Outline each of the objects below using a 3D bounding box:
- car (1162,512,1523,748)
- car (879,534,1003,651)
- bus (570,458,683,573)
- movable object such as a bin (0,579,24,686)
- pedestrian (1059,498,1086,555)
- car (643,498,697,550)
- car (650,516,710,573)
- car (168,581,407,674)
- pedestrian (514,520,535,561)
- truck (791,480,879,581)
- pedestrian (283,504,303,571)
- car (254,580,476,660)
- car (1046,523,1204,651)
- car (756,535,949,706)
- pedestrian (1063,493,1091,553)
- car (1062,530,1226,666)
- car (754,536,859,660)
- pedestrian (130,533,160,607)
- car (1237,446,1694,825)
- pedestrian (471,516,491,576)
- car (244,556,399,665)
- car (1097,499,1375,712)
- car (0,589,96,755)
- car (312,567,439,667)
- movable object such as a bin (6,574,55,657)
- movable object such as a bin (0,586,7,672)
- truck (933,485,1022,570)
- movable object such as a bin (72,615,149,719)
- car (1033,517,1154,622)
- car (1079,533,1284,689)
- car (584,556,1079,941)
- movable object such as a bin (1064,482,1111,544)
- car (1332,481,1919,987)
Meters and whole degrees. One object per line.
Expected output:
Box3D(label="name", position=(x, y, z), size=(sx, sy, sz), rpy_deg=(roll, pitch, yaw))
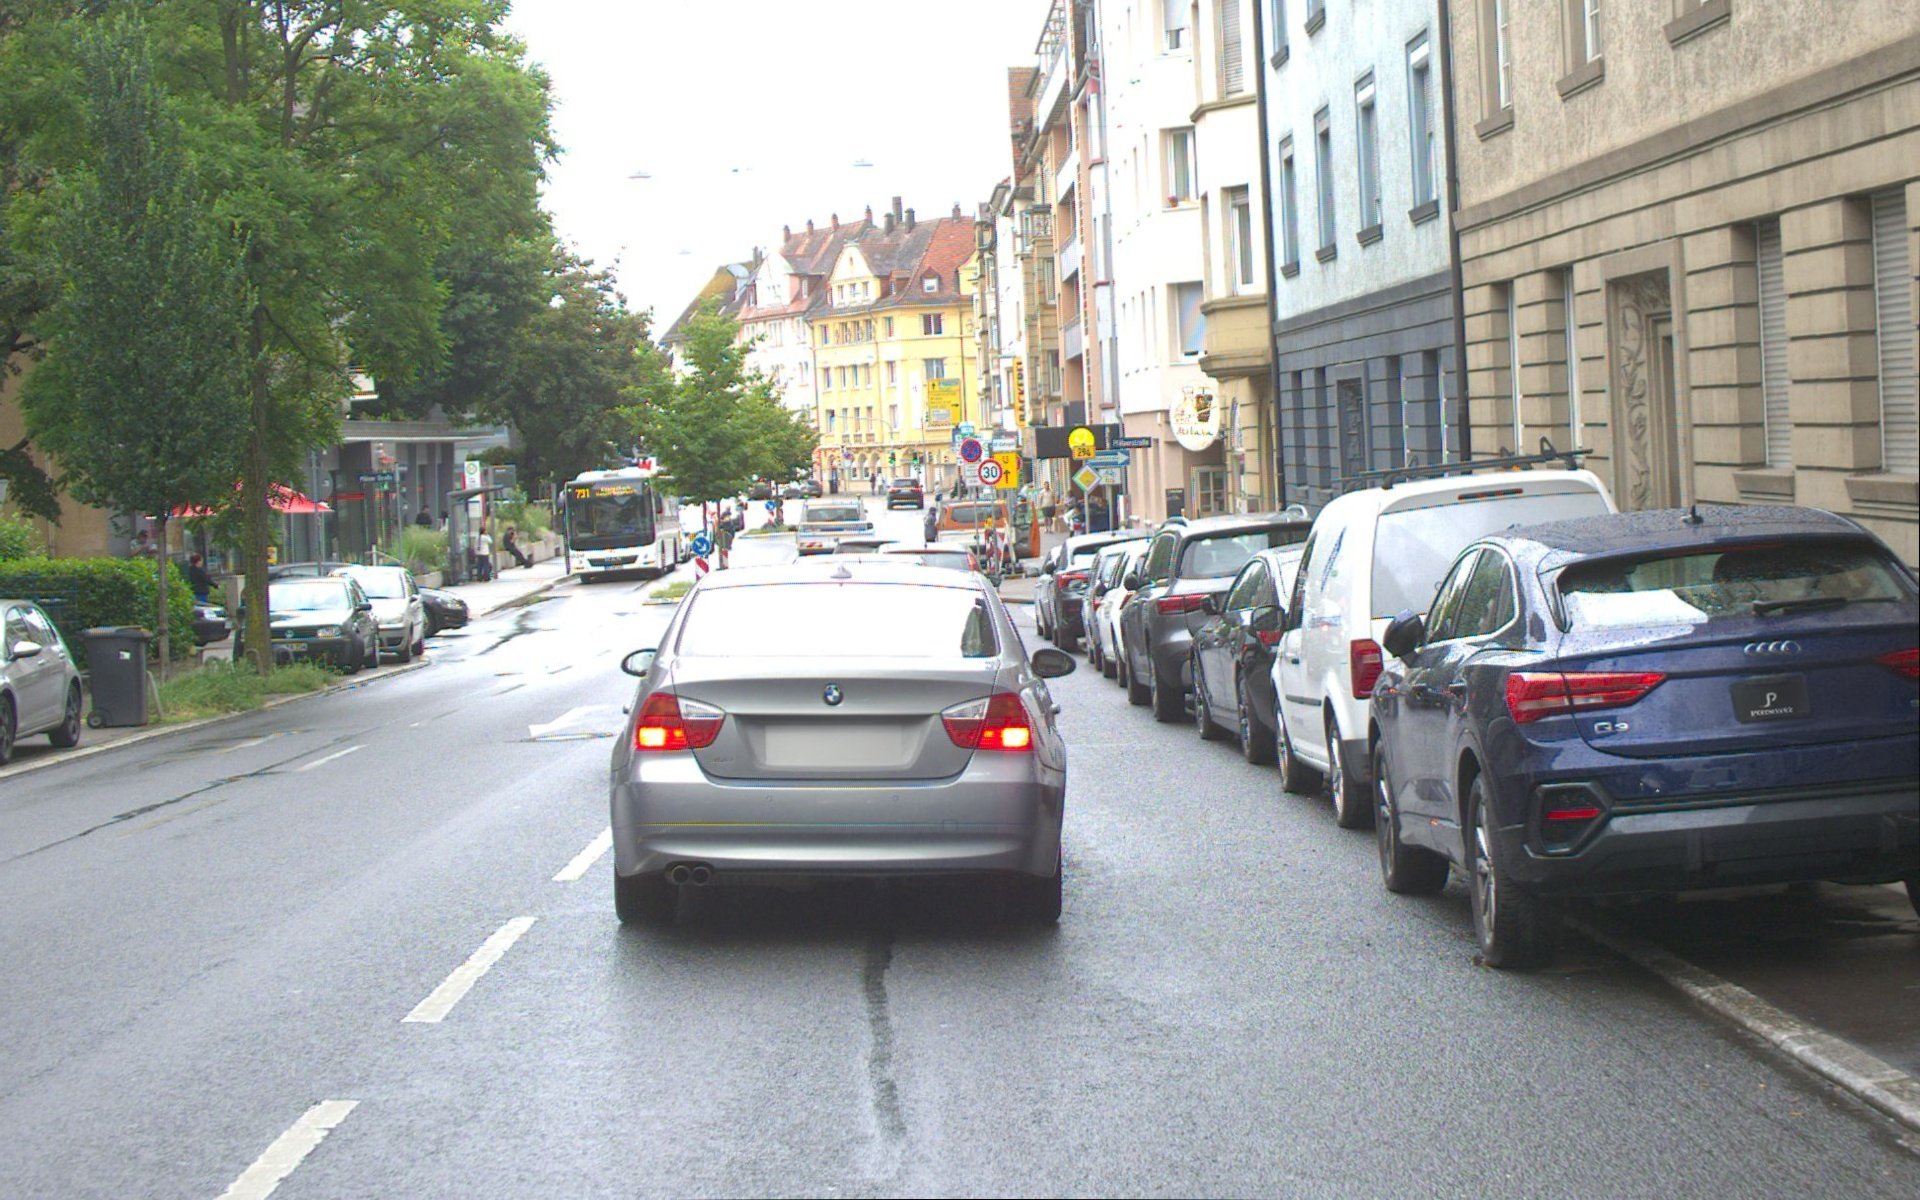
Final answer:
Box3D(label="car", position=(2.629, 0.162, 24.644), size=(1.840, 1.404, 4.388), rpy_deg=(-4, 1, -2))
Box3D(label="car", position=(-0.210, -0.096, 41.990), size=(1.435, 1.352, 3.762), rpy_deg=(0, 0, 0))
Box3D(label="bus", position=(-10.014, -2.461, 104.174), size=(2.681, 3.190, 11.957), rpy_deg=(0, 0, -2))
Box3D(label="movable object such as a bin", position=(-11.881, 0.405, 42.438), size=(0.439, 1.304, 0.650), rpy_deg=(-3, 1, -2))
Box3D(label="pedestrian", position=(3.306, -2.151, 101.080), size=(0.749, 1.655, 0.836), rpy_deg=(0, 0, 5))
Box3D(label="car", position=(-11.776, -3.087, 140.004), size=(1.993, 2.007, 4.000), rpy_deg=(0, 0, -2))
Box3D(label="car", position=(-10.144, -2.005, 124.659), size=(1.993, 2.007, 4.000), rpy_deg=(0, 0, -2))
Box3D(label="car", position=(-11.877, 0.477, 60.888), size=(3.816, 1.385, 1.743), rpy_deg=(-2, 2, 2))
Box3D(label="pedestrian", position=(-14.434, -1.973, 114.001), size=(0.619, 1.373, 0.544), rpy_deg=(0, 0, 0))
Box3D(label="truck", position=(-3.264, -1.773, 89.964), size=(2.216, 2.535, 4.780), rpy_deg=(0, 0, -2))
Box3D(label="pedestrian", position=(-17.839, -1.671, 91.942), size=(0.464, 1.783, 0.545), rpy_deg=(1, 0, -8))
Box3D(label="car", position=(-10.946, 0.354, 63.430), size=(3.815, 1.385, 1.743), rpy_deg=(-1, 0, -2))
Box3D(label="car", position=(2.221, -0.208, 47.349), size=(1.818, 1.552, 4.293), rpy_deg=(-4, 1, -1))
Box3D(label="car", position=(-0.994, 0.169, 30.404), size=(1.601, 1.415, 3.288), rpy_deg=(0, 0, -3))
Box3D(label="pedestrian", position=(3.236, -2.129, 95.150), size=(0.752, 1.655, 0.752), rpy_deg=(0, 0, 2))
Box3D(label="car", position=(2.168, -0.057, 41.337), size=(1.583, 1.424, 3.595), rpy_deg=(-5, 1, -1))
Box3D(label="car", position=(-2.635, -0.040, 58.327), size=(1.705, 2.007, 4.000), rpy_deg=(0, 0, -3))
Box3D(label="pedestrian", position=(-20.389, -0.745, 86.018), size=(0.633, 1.809, 0.638), rpy_deg=(-3, 2, -13))
Box3D(label="car", position=(2.732, 0.141, 19.494), size=(1.790, 1.811, 4.080), rpy_deg=(-4, 1, -1))
Box3D(label="pedestrian", position=(-13.693, -1.543, 98.339), size=(0.542, 1.703, 0.466), rpy_deg=(1, 0, -7))
Box3D(label="car", position=(-9.331, 0.119, 50.486), size=(1.653, 1.449, 3.943), rpy_deg=(-2, 1, -3))
Box3D(label="car", position=(2.329, 0.022, 30.042), size=(1.840, 1.615, 4.208), rpy_deg=(-4, 1, -2))
Box3D(label="car", position=(-9.161, 0.636, 31.140), size=(1.682, 1.385, 3.936), rpy_deg=(-1, 1, -1))
Box3D(label="car", position=(-9.290, 0.238, 54.877), size=(1.631, 1.449, 3.840), rpy_deg=(-2, 1, -5))
Box3D(label="movable object such as a bin", position=(-11.937, 0.196, 44.156), size=(0.426, 1.037, 0.650), rpy_deg=(-3, 1, -2))
Box3D(label="movable object such as a bin", position=(-11.878, 0.361, 41.679), size=(0.439, 1.036, 0.650), rpy_deg=(-3, 1, -2))
Box3D(label="truck", position=(0.435, -1.891, 90.902), size=(2.215, 2.109, 4.652), rpy_deg=(2, 1, -1))
Box3D(label="movable object such as a bin", position=(-8.960, 0.702, 36.265), size=(0.630, 1.054, 0.600), rpy_deg=(-3, 0, -1))
Box3D(label="car", position=(2.043, -0.490, 53.435), size=(1.569, 1.459, 4.089), rpy_deg=(-4, 1, -1))
Box3D(label="car", position=(2.304, 0.072, 36.666), size=(1.729, 1.424, 3.974), rpy_deg=(-5, 1, -1))
Box3D(label="car", position=(-0.494, 0.528, 13.917), size=(1.756, 1.358, 3.165), rpy_deg=(-1, 0, -1))
Box3D(label="movable object such as a bin", position=(3.628, -2.482, 98.118), size=(1.122, 1.697, 1.434), rpy_deg=(-3, 0, -3))
Box3D(label="car", position=(2.626, 0.381, 13.249), size=(1.790, 1.543, 4.226), rpy_deg=(-4, 1, 0))
